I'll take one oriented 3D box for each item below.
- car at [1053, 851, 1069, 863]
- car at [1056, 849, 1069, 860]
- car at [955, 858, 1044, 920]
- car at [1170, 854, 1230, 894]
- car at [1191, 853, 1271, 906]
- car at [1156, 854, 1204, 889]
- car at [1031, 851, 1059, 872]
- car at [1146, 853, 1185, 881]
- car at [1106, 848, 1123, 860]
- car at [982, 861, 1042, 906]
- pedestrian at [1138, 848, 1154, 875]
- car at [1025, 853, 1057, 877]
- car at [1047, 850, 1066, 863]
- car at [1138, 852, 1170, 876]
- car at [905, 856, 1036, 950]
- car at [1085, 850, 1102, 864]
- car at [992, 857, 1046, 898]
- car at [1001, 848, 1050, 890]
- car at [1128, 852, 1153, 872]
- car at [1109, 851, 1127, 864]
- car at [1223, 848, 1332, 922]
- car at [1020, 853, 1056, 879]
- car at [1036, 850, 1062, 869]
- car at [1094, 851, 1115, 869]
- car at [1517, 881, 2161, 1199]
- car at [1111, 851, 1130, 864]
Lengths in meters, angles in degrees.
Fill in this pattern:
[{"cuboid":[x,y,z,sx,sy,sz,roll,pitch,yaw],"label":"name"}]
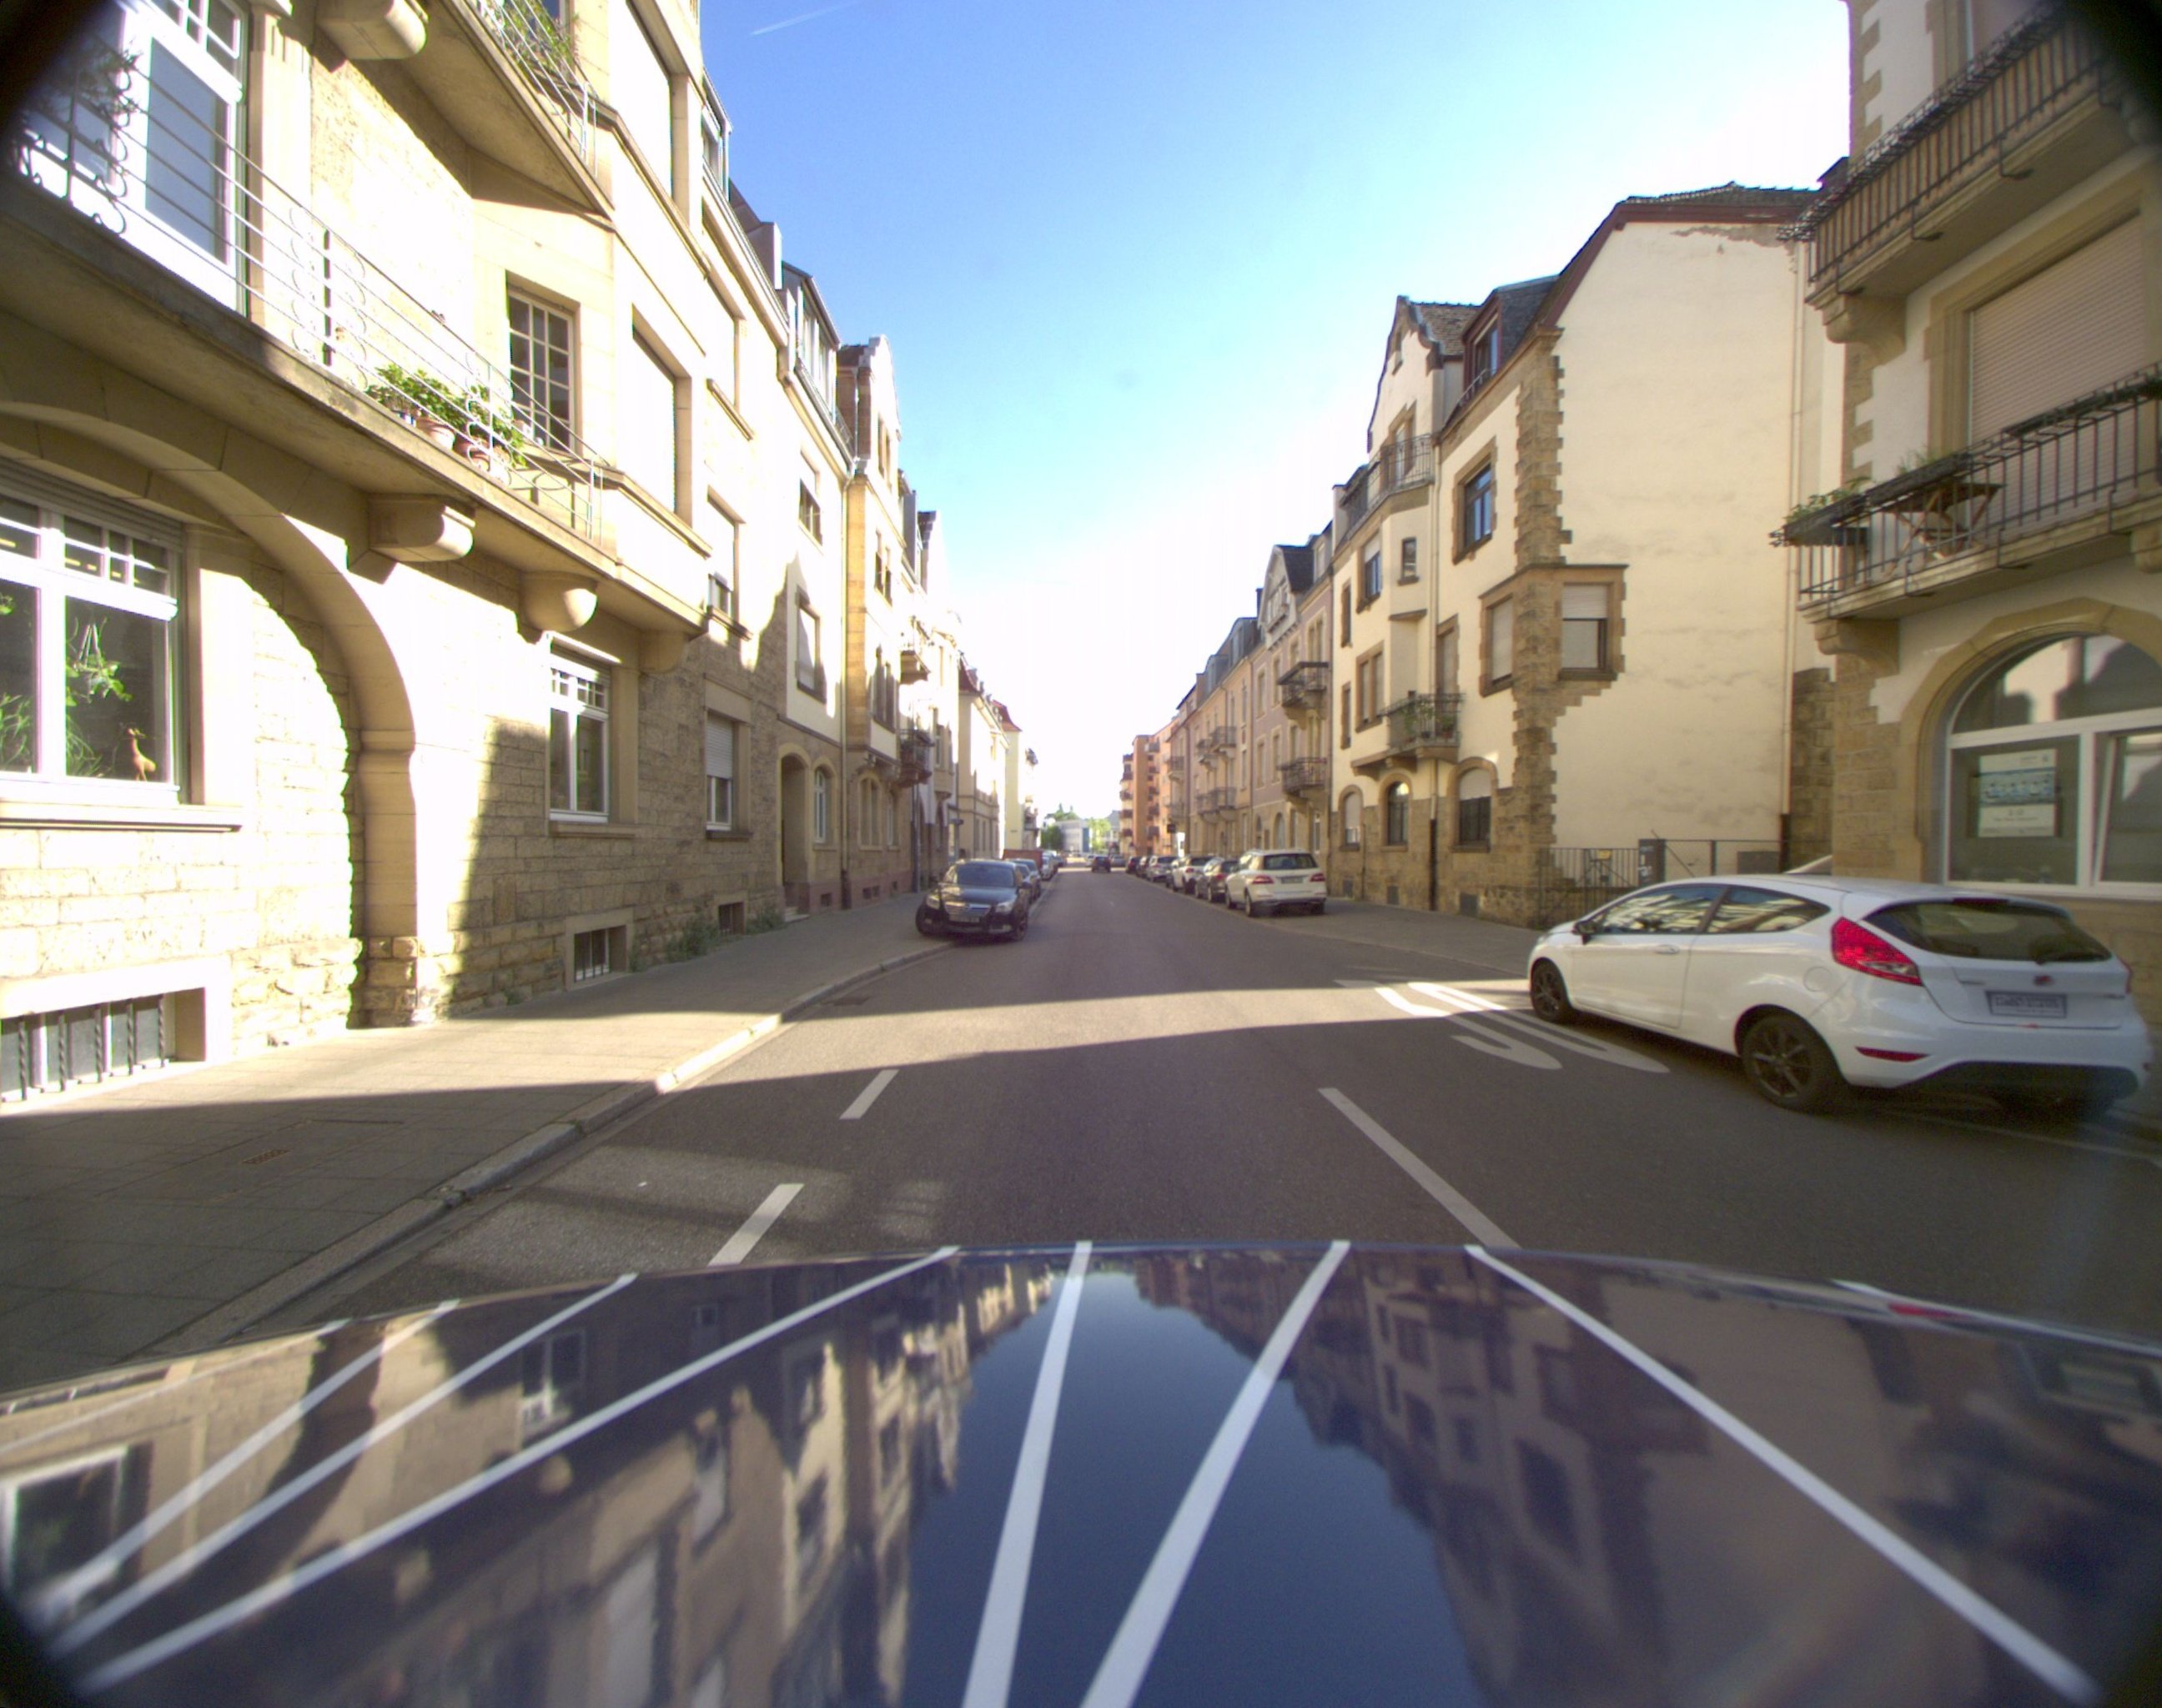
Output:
[{"cuboid":[-2.580,0.428,99.950,2.005,1.500,4.320,1,1,-1],"label":"car"},{"cuboid":[-2.937,0.065,123.334,2.005,1.722,4.320,1,1,-1],"label":"car"},{"cuboid":[-2.097,0.873,20.797,2.005,1.499,4.321,1,0,-1],"label":"car"},{"cuboid":[4.985,0.794,32.363,1.890,1.500,4.320,-2,1,1],"label":"car"},{"cuboid":[5.123,0.820,26.542,1.890,1.500,4.320,-4,1,1],"label":"car"},{"cuboid":[4.856,0.816,37.804,1.857,1.491,4.318,-2,1,1],"label":"car"},{"cuboid":[-2.743,0.534,58.664,2.005,1.500,4.320,1,1,-1],"label":"car"},{"cuboid":[5.022,0.732,45.830,1.890,1.500,4.320,-2,1,1],"label":"car"},{"cuboid":[4.521,0.000,101.955,2.005,1.500,4.320,1,1,-1],"label":"car"},{"cuboid":[-2.233,0.926,25.376,1.661,1.272,3.729,1,1,-1],"label":"car"},{"cuboid":[5.023,0.555,58.846,1.066,2.002,0.952,-2,1,-3],"label":"pedestrian"},{"cuboid":[-2.747,0.736,52.639,2.005,1.500,4.320,1,1,-1],"label":"car"},{"cuboid":[-2.841,0.264,88.977,2.005,1.500,4.320,1,1,-1],"label":"car"},{"cuboid":[4.993,0.667,52.348,1.809,1.500,4.003,-2,1,1],"label":"car"},{"cuboid":[-2.037,0.859,15.248,2.024,1.500,4.111,2,1,-1],"label":"car"},{"cuboid":[1.316,0.328,80.988,1.702,1.474,3.534,1,0,0],"label":"car"},{"cuboid":[-2.384,0.890,30.118,1.824,1.415,4.320,1,1,-1],"label":"car"},{"cuboid":[-2.559,0.649,35.807,2.005,1.828,4.320,1,1,-1],"label":"car"},{"cuboid":[4.895,0.639,62.970,1.793,1.500,4.320,-2,1,1],"label":"car"},{"cuboid":[4.626,0.389,96.203,2.005,1.500,4.320,1,1,-1],"label":"car"},{"cuboid":[5.195,0.751,20.669,1.890,1.717,4.211,-2,1,1],"label":"car"},{"cuboid":[-2.652,0.716,47.865,2.005,1.500,4.320,1,1,-1],"label":"car"},{"cuboid":[-2.670,0.450,64.497,2.005,1.500,4.320,1,1,-1],"label":"car"},{"cuboid":[2.040,0.501,66.062,1.656,1.449,3.642,0,1,-1],"label":"car"},{"cuboid":[5.110,1.014,5.669,1.656,1.449,3.643,2,0,2],"label":"car"},{"cuboid":[4.676,0.406,91.389,2.005,1.500,4.320,1,1,-1],"label":"car"}]
